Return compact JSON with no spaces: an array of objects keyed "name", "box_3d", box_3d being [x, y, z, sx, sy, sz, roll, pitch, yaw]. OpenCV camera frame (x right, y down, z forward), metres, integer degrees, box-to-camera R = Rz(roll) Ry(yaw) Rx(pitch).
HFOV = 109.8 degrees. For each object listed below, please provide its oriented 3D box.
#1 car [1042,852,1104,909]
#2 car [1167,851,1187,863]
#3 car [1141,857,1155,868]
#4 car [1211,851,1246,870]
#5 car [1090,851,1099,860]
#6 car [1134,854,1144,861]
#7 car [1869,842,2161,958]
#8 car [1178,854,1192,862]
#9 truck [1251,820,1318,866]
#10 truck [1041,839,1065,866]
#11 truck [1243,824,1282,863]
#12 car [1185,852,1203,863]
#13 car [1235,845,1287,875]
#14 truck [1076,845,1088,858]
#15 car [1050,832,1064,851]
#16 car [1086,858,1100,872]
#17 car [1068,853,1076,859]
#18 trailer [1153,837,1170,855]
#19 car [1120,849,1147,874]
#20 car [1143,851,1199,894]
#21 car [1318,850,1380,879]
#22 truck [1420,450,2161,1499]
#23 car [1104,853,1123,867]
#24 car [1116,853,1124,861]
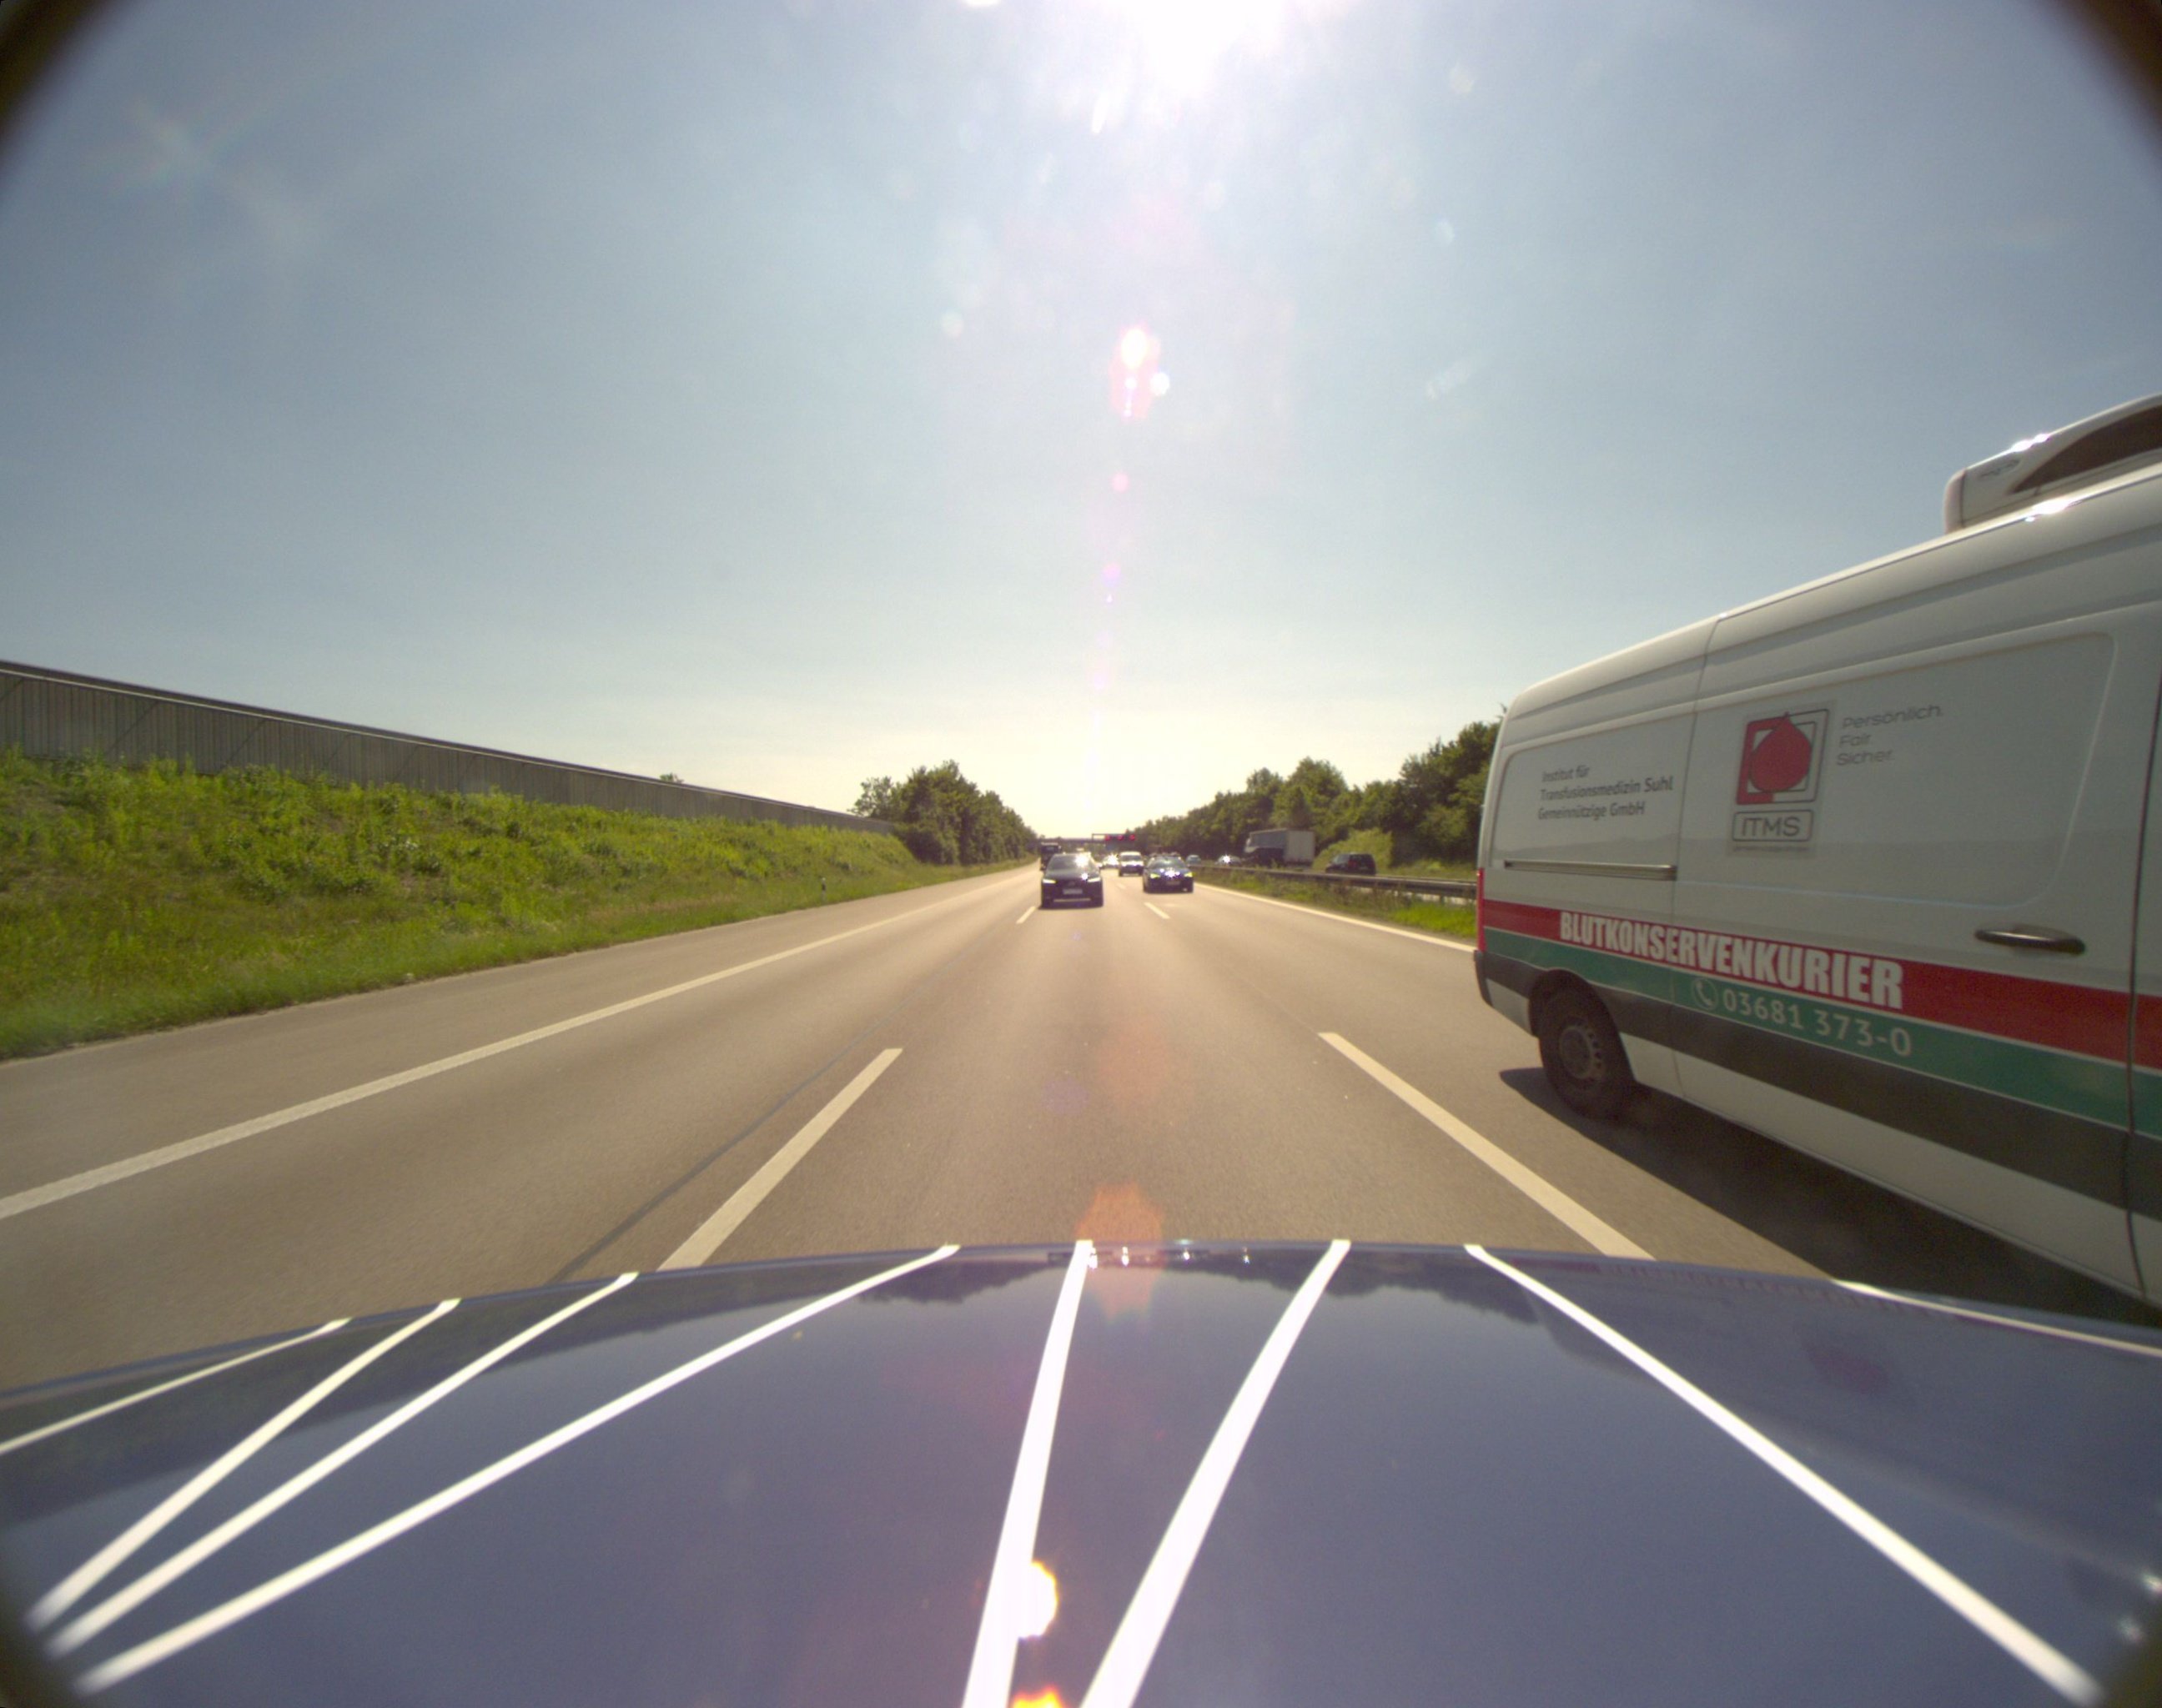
[{"name":"car","box_3d":[-0.251,0.786,24.640,1.812,1.648,3.999,-2,0,0]},{"name":"car","box_3d":[12.516,0.368,99.128,1.863,1.591,4.720,-1,0,-1]},{"name":"car","box_3d":[11.984,1.441,136.004,1.999,1.854,4.897,-1,0,-2]},{"name":"car","box_3d":[12.006,0.517,61.957,1.879,1.431,5.018,-1,0,0]},{"name":"car","box_3d":[3.189,0.294,177.747,1.998,2.002,4.345,-1,0,0]},{"name":"car","box_3d":[14.782,0.894,194.320,1.999,1.680,4.264,-1,0,-2]},{"name":"car","box_3d":[15.912,0.620,12.107,1.998,1.604,4.580,-1,0,0]},{"name":"car","box_3d":[19.629,0.818,143.820,1.900,1.430,4.923,2,0,-1]},{"name":"truck","box_3d":[19.832,-1.017,75.113,2.679,4.054,13.957,1,0,0]},{"name":"truck","box_3d":[-3.687,-0.228,98.568,2.966,3.388,8.045,0,1,-2]},{"name":"truck","box_3d":[19.793,-1.084,83.320,2.679,4.055,6.075,1,0,0]},{"name":"car","box_3d":[15.607,0.467,105.436,1.799,1.501,4.349,-1,0,-1]},{"name":"car","box_3d":[12.057,0.376,51.297,2.095,1.934,5.688,-1,0,0]},{"name":"truck","box_3d":[0.278,-0.802,225.274,3.243,3.684,10.932,0,0,-2]},{"name":"car","box_3d":[-5.442,-2.801,171.888,3.203,3.997,8.124,0,1,-2]},{"name":"car","box_3d":[1.597,1.402,98.767,1.742,1.630,3.844,0,1,3]},{"name":"car","box_3d":[-2.563,0.490,214.098,1.998,1.765,4.236,-1,0,0]},{"name":"trailer","box_3d":[17.765,-1.693,167.895,2.686,3.747,8.405,1,0,-1]},{"name":"car","box_3d":[3.911,0.527,57.059,1.870,1.713,3.980,-1,1,2]},{"name":"car","box_3d":[3.666,0.701,31.669,1.904,1.616,4.240,-2,0,1]},{"name":"car","box_3d":[16.020,0.583,45.663,1.969,1.631,4.895,-1,0,0]},{"name":"truck","box_3d":[3.585,0.271,2.339,1.999,2.527,6.691,-2,0,0]},{"name":"car","box_3d":[3.643,0.670,86.533,1.998,1.540,3.999,-1,1,0]},{"name":"car","box_3d":[10.004,0.800,194.901,1.821,1.892,4.000,-1,0,0]}]
